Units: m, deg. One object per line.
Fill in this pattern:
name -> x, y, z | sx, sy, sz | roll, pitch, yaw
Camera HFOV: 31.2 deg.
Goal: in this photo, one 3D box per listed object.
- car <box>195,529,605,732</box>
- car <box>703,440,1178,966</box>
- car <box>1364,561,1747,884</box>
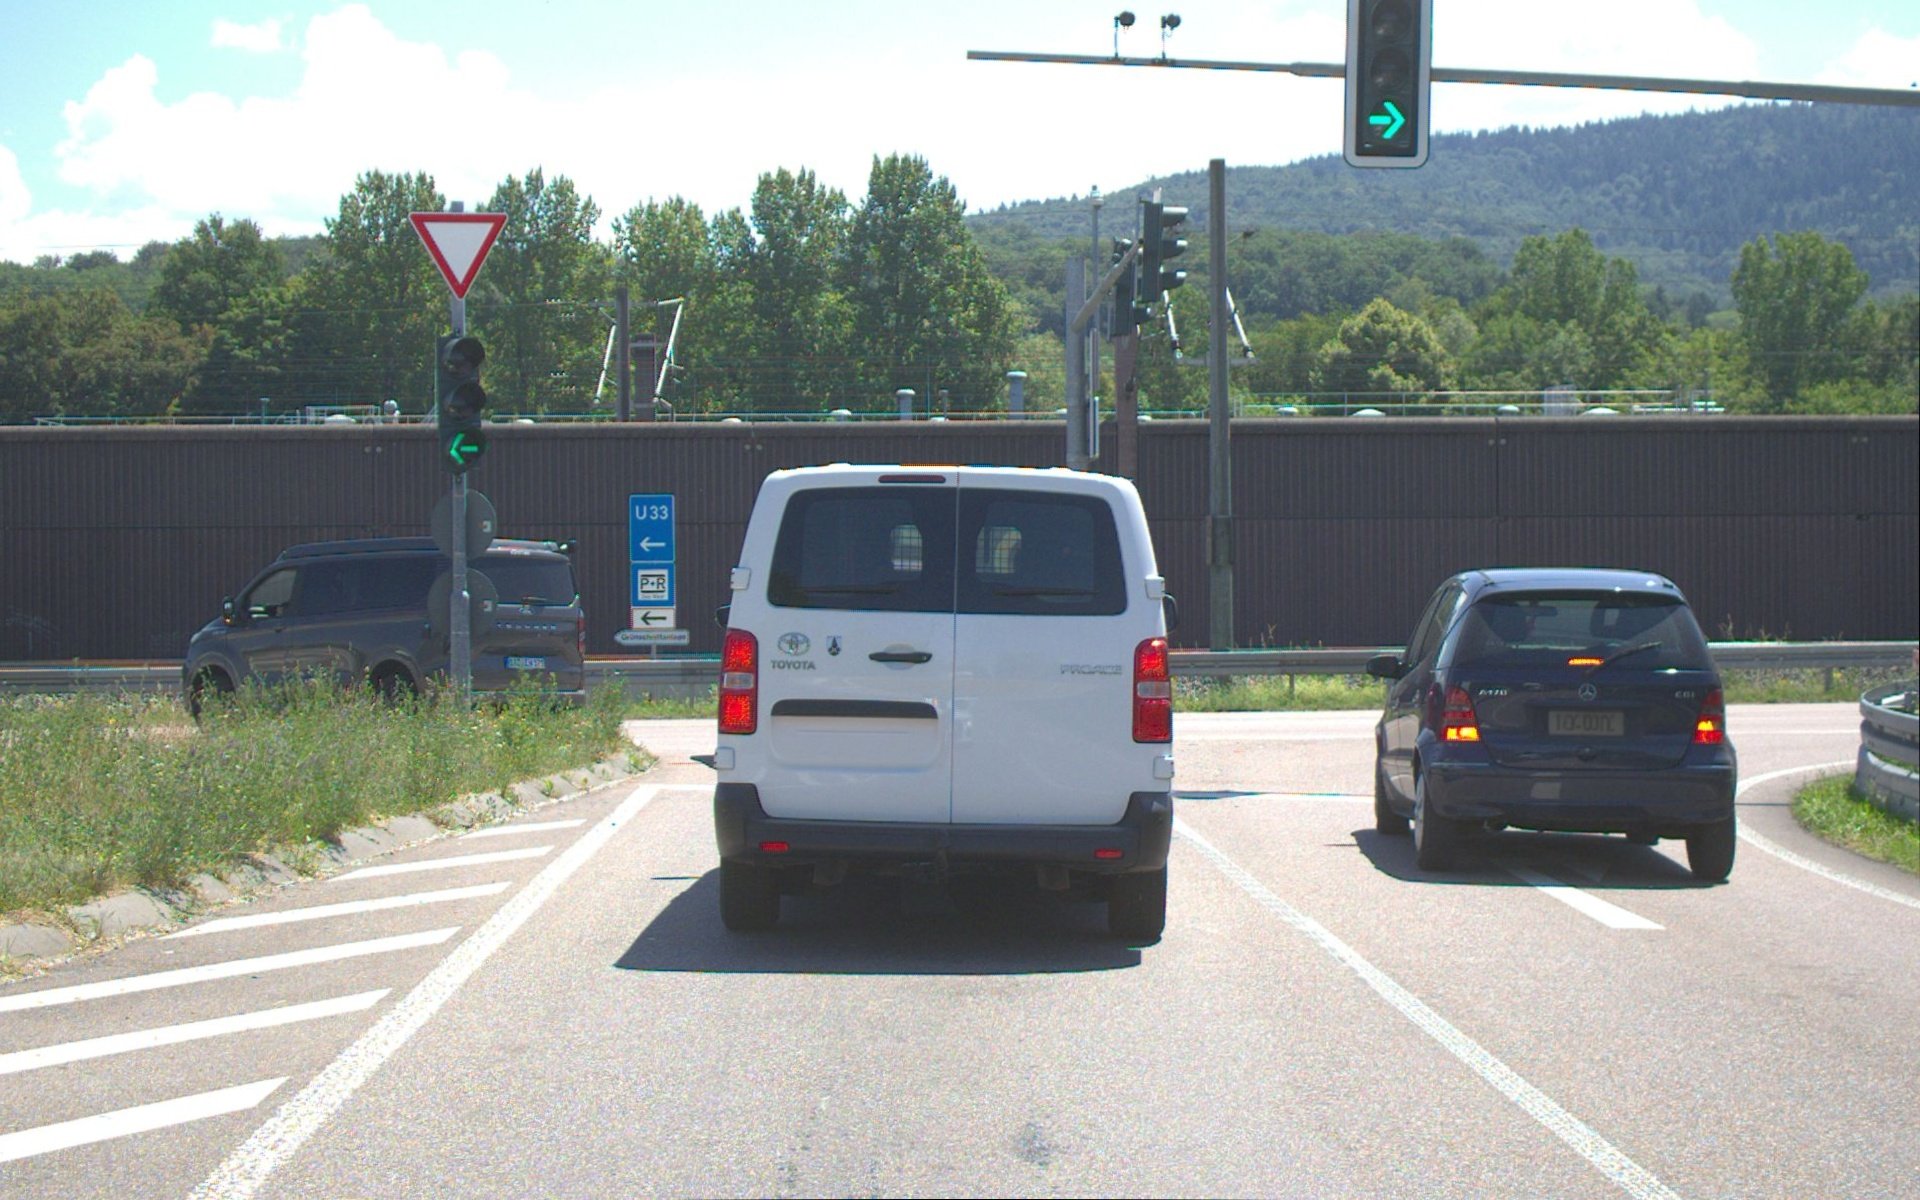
car -> -5.980, 0.284, 36.336 | 1.994, 2.007, 4.710 | 0, 0, -43
car -> -0.104, 0.379, 15.141 | 1.814, 2.011, 4.000 | 0, 0, -1
car -> 3.229, 0.608, 19.241 | 1.668, 1.595, 3.553 | 1, 1, 3
